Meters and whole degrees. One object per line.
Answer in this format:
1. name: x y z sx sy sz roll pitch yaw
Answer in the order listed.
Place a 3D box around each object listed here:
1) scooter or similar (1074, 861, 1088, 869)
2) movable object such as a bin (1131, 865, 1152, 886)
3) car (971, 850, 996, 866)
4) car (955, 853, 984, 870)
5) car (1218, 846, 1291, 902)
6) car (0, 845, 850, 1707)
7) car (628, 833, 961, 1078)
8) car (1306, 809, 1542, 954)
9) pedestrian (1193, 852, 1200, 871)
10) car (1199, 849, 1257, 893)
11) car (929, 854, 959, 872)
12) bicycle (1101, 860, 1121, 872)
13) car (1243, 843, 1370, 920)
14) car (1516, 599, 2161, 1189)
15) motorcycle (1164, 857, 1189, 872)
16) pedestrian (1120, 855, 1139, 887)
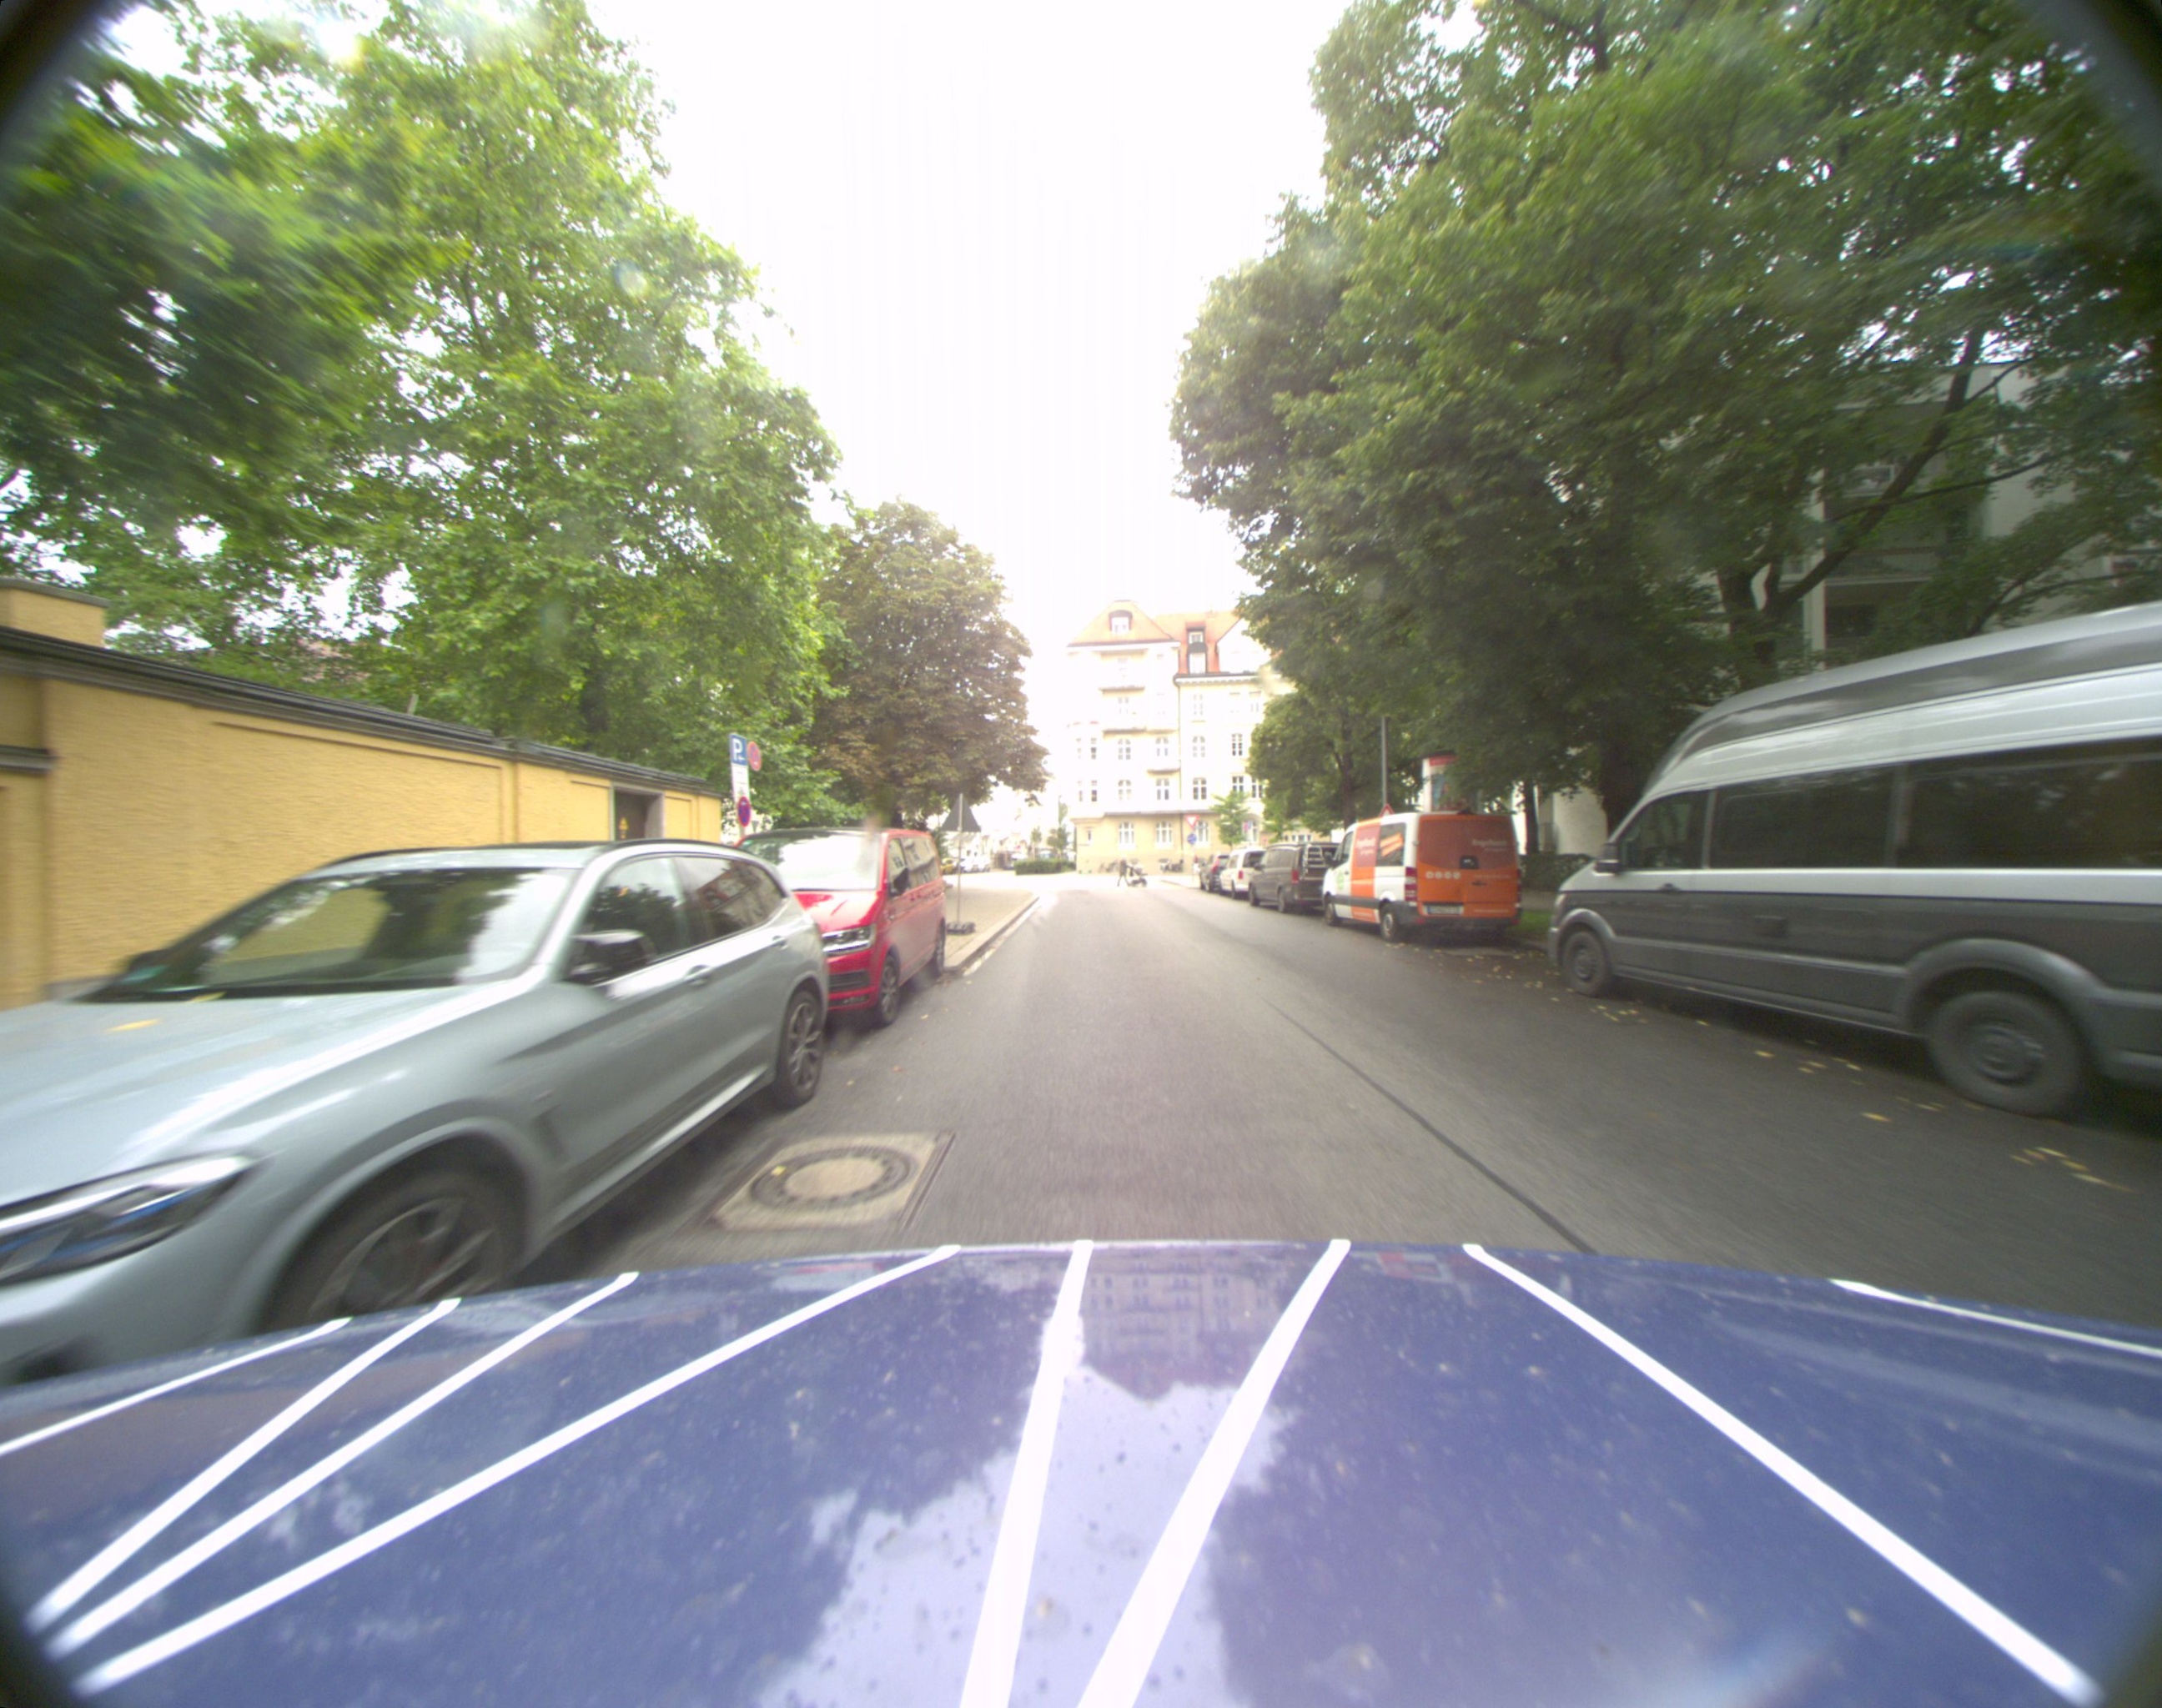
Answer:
1. scooter or similar: 0.011 1.027 69.670 1.235 0.683 0.316 -1 2 -21
2. movable object such as a bin: 3.160 1.126 39.750 0.900 1.078 0.777 -1 2 -7
3. car: -12.700 0.505 98.907 2.052 1.928 4.578 0 1 8
4. car: -13.582 0.923 92.679 2.156 1.902 4.775 0 1 8
5. car: 6.458 0.697 28.782 1.884 1.925 4.834 0 0 3
6. car: -2.611 0.876 3.114 1.863 1.731 4.602 -2 0 0
7. car: -2.741 0.773 8.878 1.863 1.956 5.443 -1 1 -1
8. car: 6.387 0.455 15.050 2.120 2.334 5.407 -1 0 -1
9. pedestrian: 10.377 0.691 68.079 0.606 1.655 0.463 -1 2 12
10. car: 6.530 0.683 34.163 1.884 1.758 5.059 -1 1 3
11. car: -14.736 0.899 82.103 1.793 1.809 4.306 0 1 10
12. bicycle: 2.737 1.094 69.748 1.783 0.986 0.543 -1 2 4
13. car: 6.268 0.697 21.909 1.950 1.952 5.459 0 0 -1
14. car: 6.174 0.141 5.981 1.950 2.838 6.234 -1 1 0
15. motorcycle: 8.641 0.923 68.724 2.243 1.319 0.824 -1 2 5
16. pedestrian: 2.513 0.894 39.591 0.863 1.610 0.593 -1 2 -7
